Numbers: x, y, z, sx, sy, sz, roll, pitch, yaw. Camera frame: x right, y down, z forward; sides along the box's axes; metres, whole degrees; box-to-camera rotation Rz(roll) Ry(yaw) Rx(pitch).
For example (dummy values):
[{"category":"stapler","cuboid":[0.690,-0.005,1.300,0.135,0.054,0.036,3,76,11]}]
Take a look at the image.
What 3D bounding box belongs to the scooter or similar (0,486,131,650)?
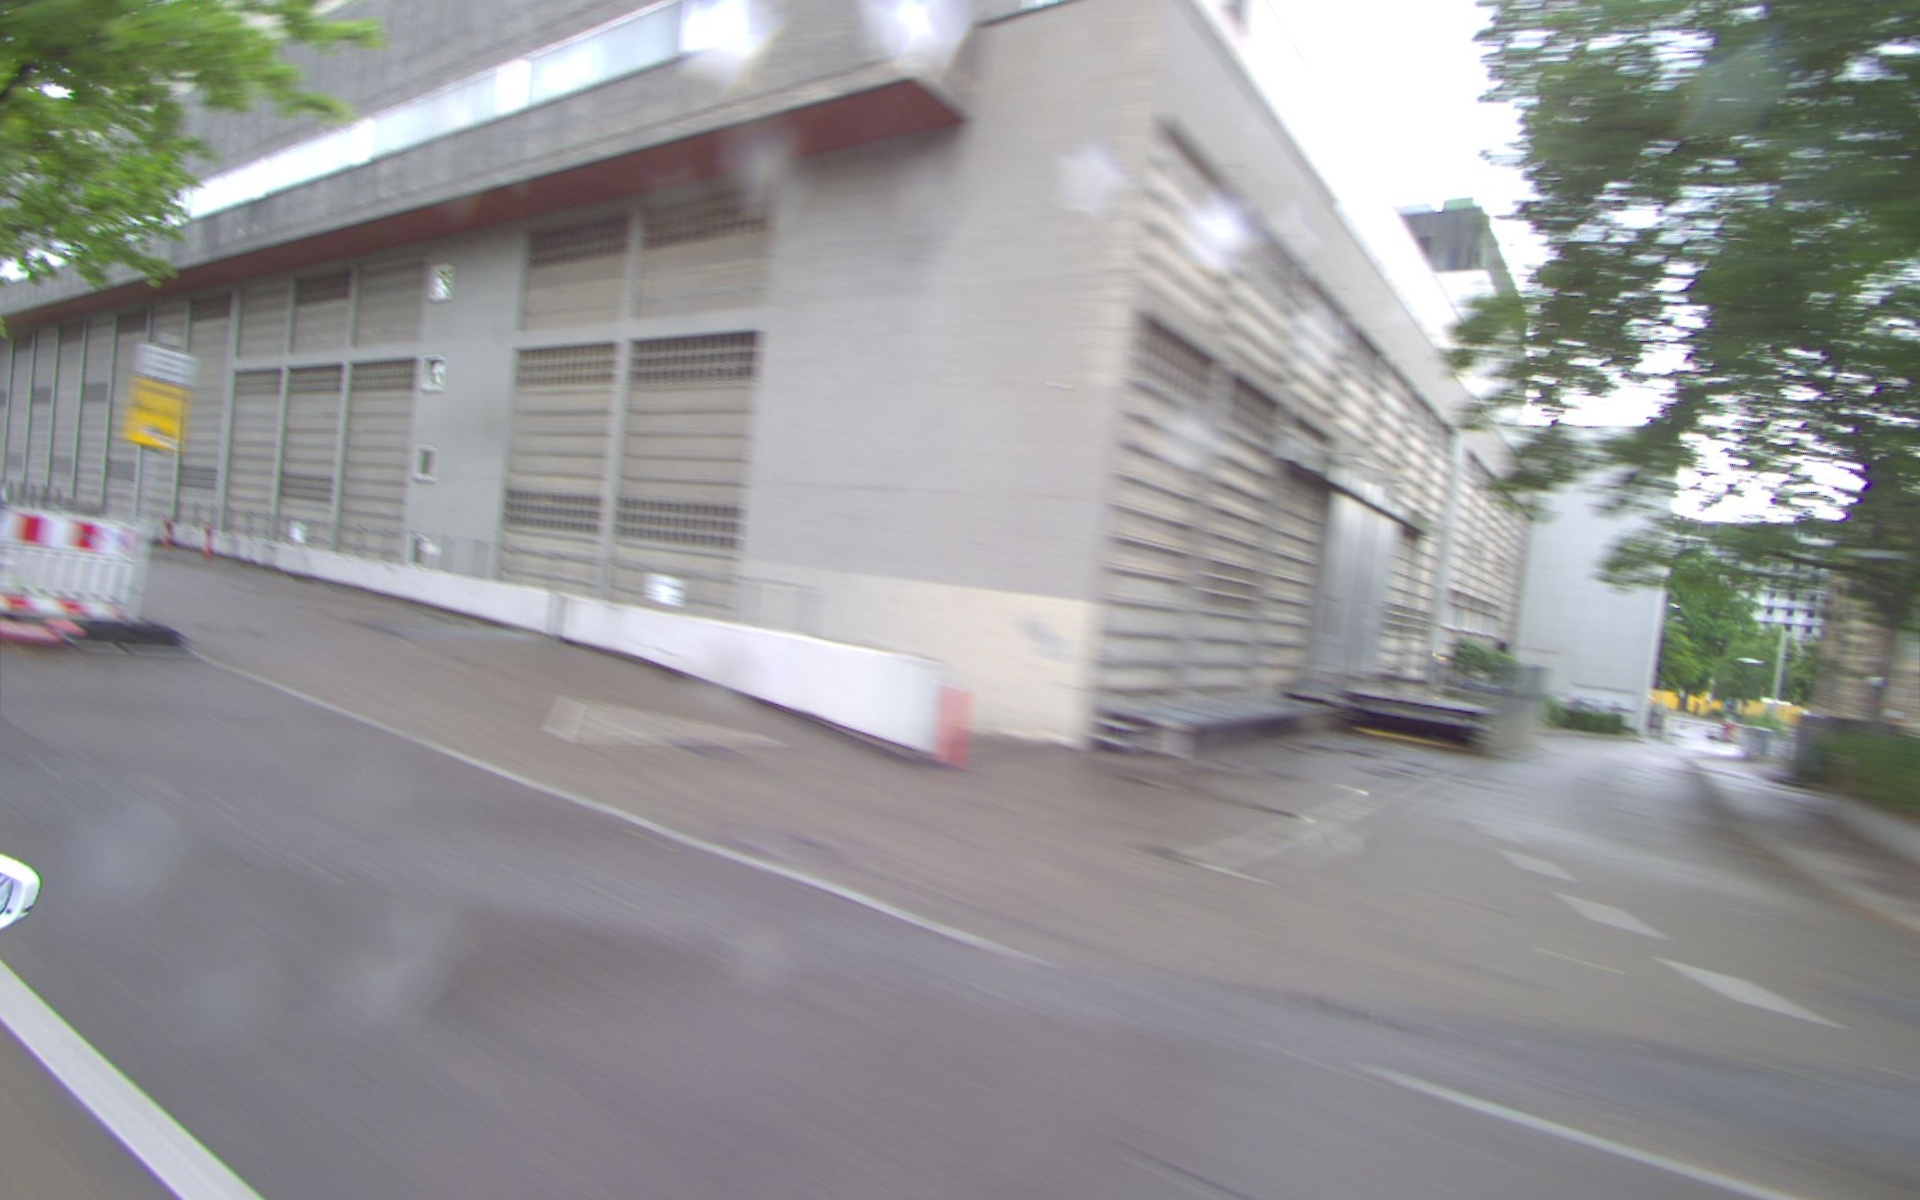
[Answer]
[{"category":"scooter or similar","cuboid":[-8.222,-0.303,8.723,0.609,1.299,1.358,6,-3,35]}]
